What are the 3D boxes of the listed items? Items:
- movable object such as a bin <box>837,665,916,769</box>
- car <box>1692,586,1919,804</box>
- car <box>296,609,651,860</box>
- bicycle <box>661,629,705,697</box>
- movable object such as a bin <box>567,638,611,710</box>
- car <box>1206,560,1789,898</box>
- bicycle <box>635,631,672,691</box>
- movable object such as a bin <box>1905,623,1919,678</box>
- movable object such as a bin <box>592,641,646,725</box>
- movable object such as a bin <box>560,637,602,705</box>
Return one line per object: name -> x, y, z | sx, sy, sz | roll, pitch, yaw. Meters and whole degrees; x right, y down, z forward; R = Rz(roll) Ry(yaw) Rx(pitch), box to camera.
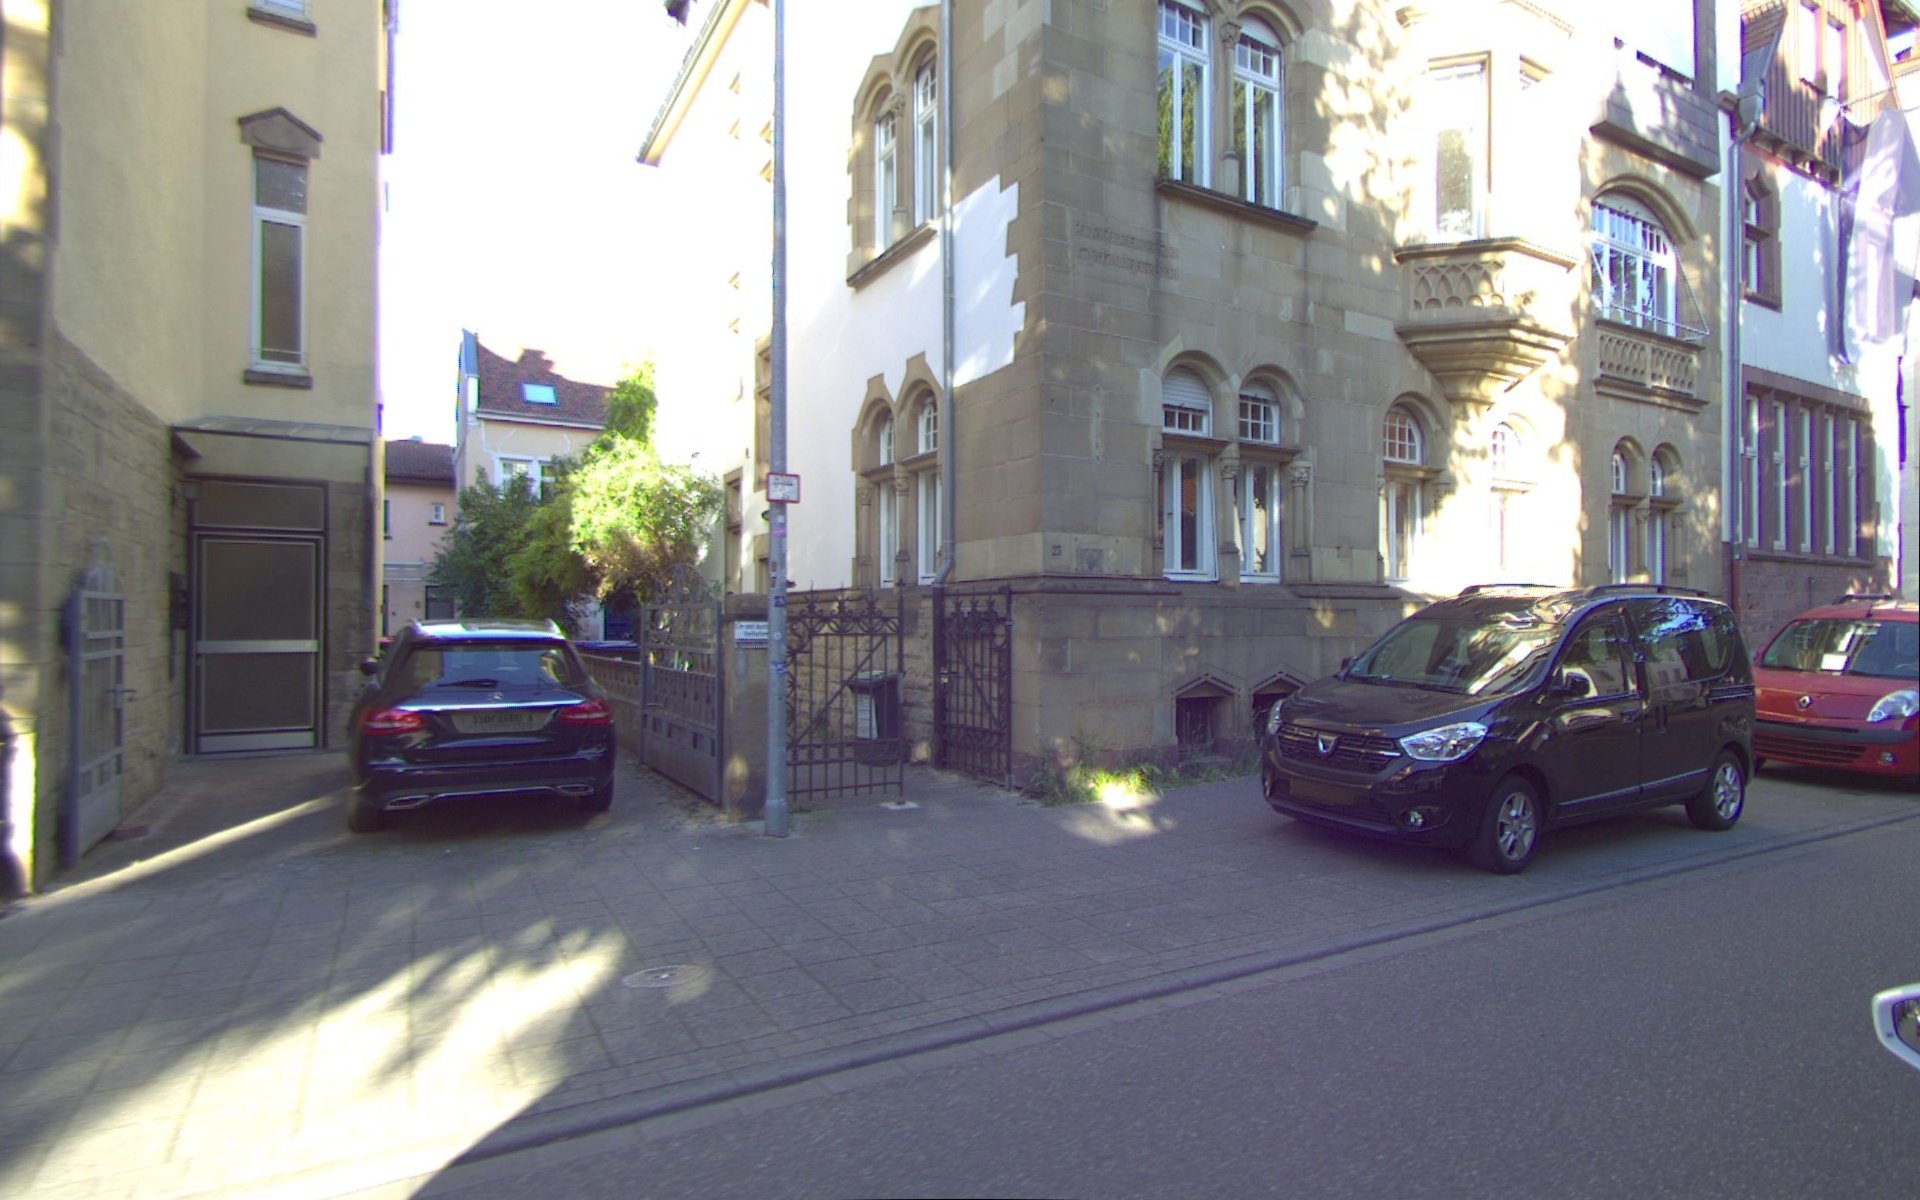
movable object such as a bin -> -0.846, 1.155, 10.111 | 0.645, 0.972, 0.525 | 1, -1, -28
car -> 9.916, 0.862, 10.757 | 4.273, 1.932, 1.790 | 1, 0, -30
car -> -4.039, 0.830, 8.392 | 2.042, 1.457, 4.373 | 1, 0, -27
bicycle -> -5.095, 1.121, 18.415 | 0.421, 1.165, 1.833 | 0, -1, -27
movable object such as a bin -> -5.950, 1.172, 16.098 | 0.578, 1.107, 0.785 | 0, -1, -28
car -> 4.114, 0.742, 7.487 | 4.488, 1.876, 1.761 | 1, 0, -30
bicycle -> -6.401, 1.254, 20.940 | 0.421, 1.165, 1.833 | 0, -1, -27
movable object such as a bin -> 23.417, 1.197, 23.687 | 0.954, 1.316, 1.374 | 0, -1, -20
movable object such as a bin -> -4.717, 1.118, 13.864 | 0.578, 1.103, 0.846 | 0, -1, -28
movable object such as a bin -> -6.479, 1.198, 17.162 | 0.578, 1.107, 0.896 | 0, -1, -28
